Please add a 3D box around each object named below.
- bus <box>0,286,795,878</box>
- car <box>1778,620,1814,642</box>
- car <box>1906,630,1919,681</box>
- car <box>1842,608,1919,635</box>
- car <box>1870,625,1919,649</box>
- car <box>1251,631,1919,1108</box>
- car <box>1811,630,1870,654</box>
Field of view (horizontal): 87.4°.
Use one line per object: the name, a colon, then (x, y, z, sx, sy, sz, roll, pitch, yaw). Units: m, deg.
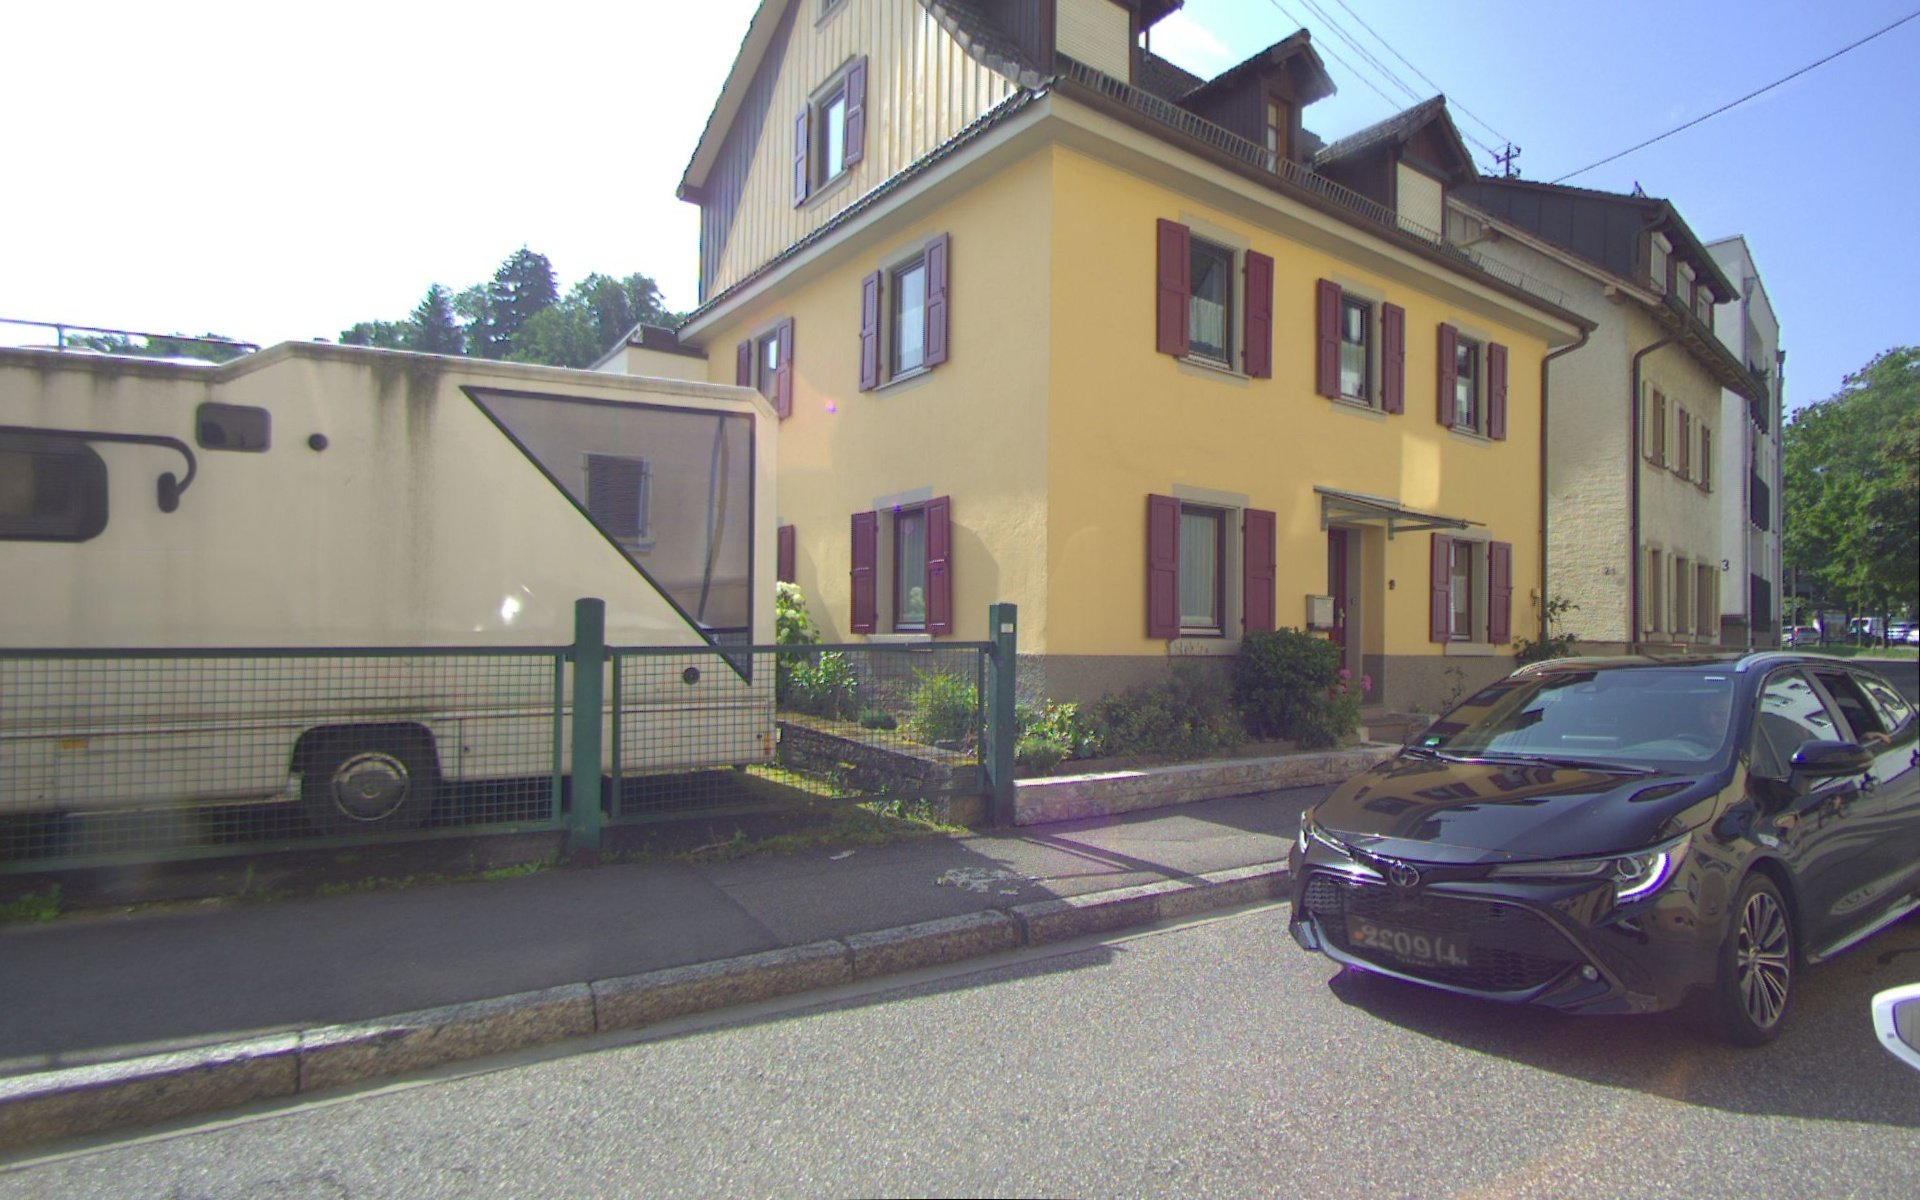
bus: (-5.862, -0.116, 6.853, 8.917, 3.271, 2.810, 1, 1, -27)
car: (59.757, 2.199, 71.847, 1.721, 1.572, 3.740, -1, -2, 36)
car: (29.995, 1.633, 30.164, 1.801, 1.557, 3.984, -5, -5, 37)
car: (67.051, 1.559, 72.819, 4.610, 1.879, 1.999, 0, -1, -3)
car: (65.027, 2.538, 69.177, 3.936, 1.572, 1.809, 1, -1, -18)
car: (3.530, 0.933, 5.032, 4.215, 1.467, 1.649, 1, -5, -34)
car: (58.249, 2.746, 66.495, 1.644, 1.487, 3.411, 0, -1, 17)
